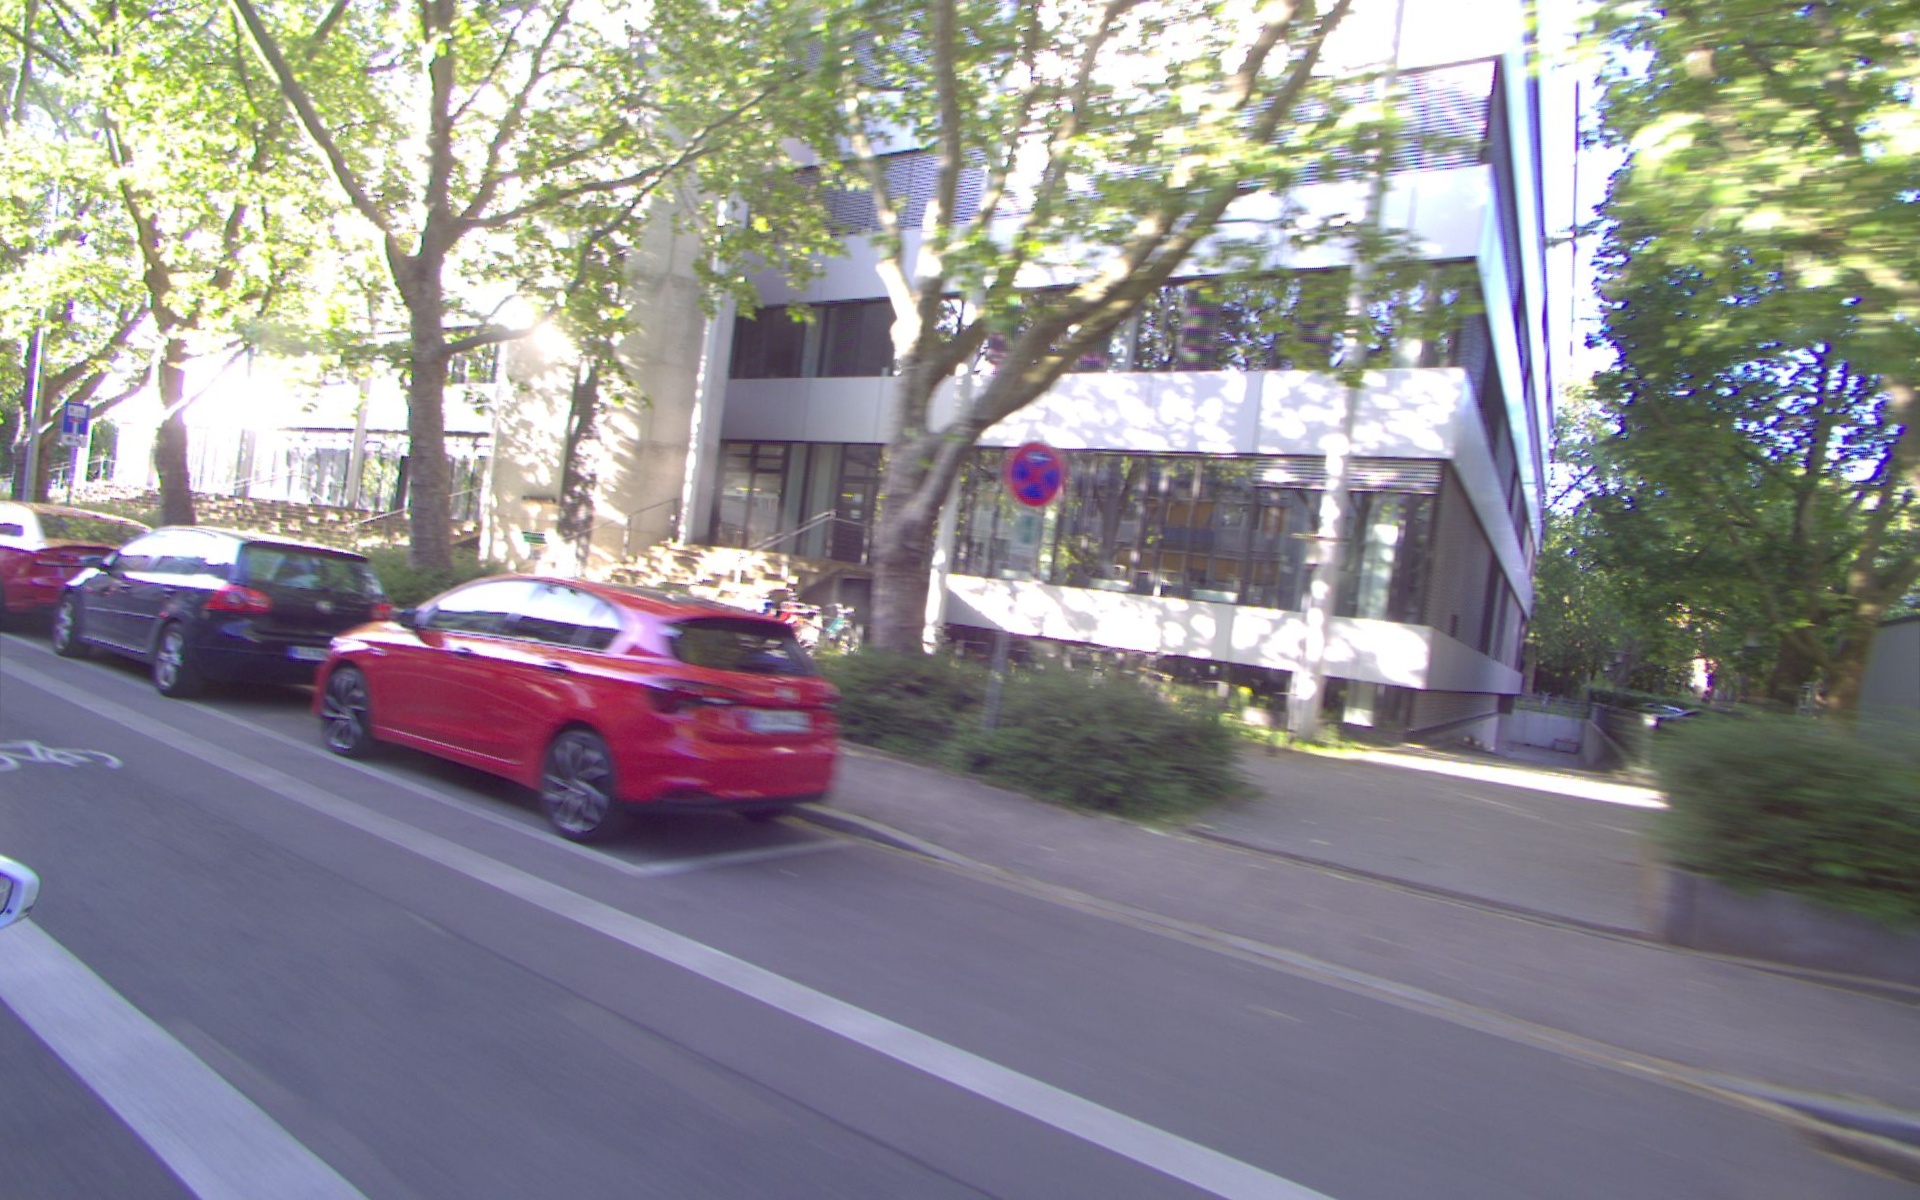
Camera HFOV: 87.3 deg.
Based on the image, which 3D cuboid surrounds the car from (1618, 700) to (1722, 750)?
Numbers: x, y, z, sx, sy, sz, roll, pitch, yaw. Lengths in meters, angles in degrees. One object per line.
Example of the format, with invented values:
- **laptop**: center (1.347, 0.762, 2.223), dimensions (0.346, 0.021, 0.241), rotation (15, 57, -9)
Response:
- **car**: center (35.152, 6.199, 49.930), dimensions (3.887, 1.821, 1.823), rotation (7, -2, 32)

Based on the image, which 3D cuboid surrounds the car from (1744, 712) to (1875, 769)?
- **car**: center (36.140, 5.966, 42.936), dimensions (3.887, 1.740, 1.823), rotation (7, -2, 32)

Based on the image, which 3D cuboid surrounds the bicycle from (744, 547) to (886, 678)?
- **bicycle**: center (-2.453, 0.275, 17.477), dimensions (0.730, 2.038, 2.601), rotation (8, 0, 31)

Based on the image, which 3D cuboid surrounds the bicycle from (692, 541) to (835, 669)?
- **bicycle**: center (-3.458, 0.155, 18.022), dimensions (0.730, 2.038, 2.601), rotation (8, 0, 31)

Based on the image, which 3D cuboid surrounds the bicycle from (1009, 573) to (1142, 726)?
- **bicycle**: center (1.785, 0.769, 15.020), dimensions (0.730, 2.038, 2.601), rotation (8, 0, 31)

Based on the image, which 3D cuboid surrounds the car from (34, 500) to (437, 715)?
- **car**: center (-7.100, 0.032, 9.753), dimensions (3.999, 1.483, 1.696), rotation (7, -2, 33)

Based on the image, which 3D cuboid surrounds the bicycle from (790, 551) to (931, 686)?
- **bicycle**: center (-1.615, 0.373, 16.982), dimensions (0.730, 2.038, 2.601), rotation (8, 0, 31)

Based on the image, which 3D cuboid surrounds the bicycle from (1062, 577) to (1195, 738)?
- **bicycle**: center (2.475, 0.845, 14.402), dimensions (0.730, 2.038, 2.601), rotation (8, 0, 31)

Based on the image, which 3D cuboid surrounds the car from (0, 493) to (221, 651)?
- **car**: center (-11.105, -0.464, 12.206), dimensions (4.360, 1.465, 1.698), rotation (7, -2, 30)

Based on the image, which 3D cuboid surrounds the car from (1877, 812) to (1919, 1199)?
- **car**: center (4.919, 1.498, 2.145), dimensions (3.951, 1.520, 1.698), rotation (7, -2, 30)

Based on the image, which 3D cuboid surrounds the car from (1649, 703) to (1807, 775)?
- **car**: center (25.688, 4.626, 33.850), dimensions (3.887, 1.740, 1.823), rotation (7, -2, 32)

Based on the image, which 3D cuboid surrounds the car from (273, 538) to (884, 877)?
- **car**: center (-2.833, 0.594, 7.154), dimensions (4.247, 1.495, 1.697), rotation (7, -2, 32)

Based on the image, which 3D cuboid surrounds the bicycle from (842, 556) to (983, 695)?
- **bicycle**: center (-0.713, 0.477, 16.419), dimensions (0.730, 2.038, 2.601), rotation (8, 0, 31)

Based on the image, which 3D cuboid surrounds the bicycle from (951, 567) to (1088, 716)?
- **bicycle**: center (0.978, 0.674, 15.387), dimensions (0.730, 2.038, 2.601), rotation (8, 0, 31)

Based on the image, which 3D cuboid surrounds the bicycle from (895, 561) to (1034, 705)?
- **bicycle**: center (0.131, 0.575, 15.891), dimensions (0.730, 2.038, 2.601), rotation (8, 0, 31)
